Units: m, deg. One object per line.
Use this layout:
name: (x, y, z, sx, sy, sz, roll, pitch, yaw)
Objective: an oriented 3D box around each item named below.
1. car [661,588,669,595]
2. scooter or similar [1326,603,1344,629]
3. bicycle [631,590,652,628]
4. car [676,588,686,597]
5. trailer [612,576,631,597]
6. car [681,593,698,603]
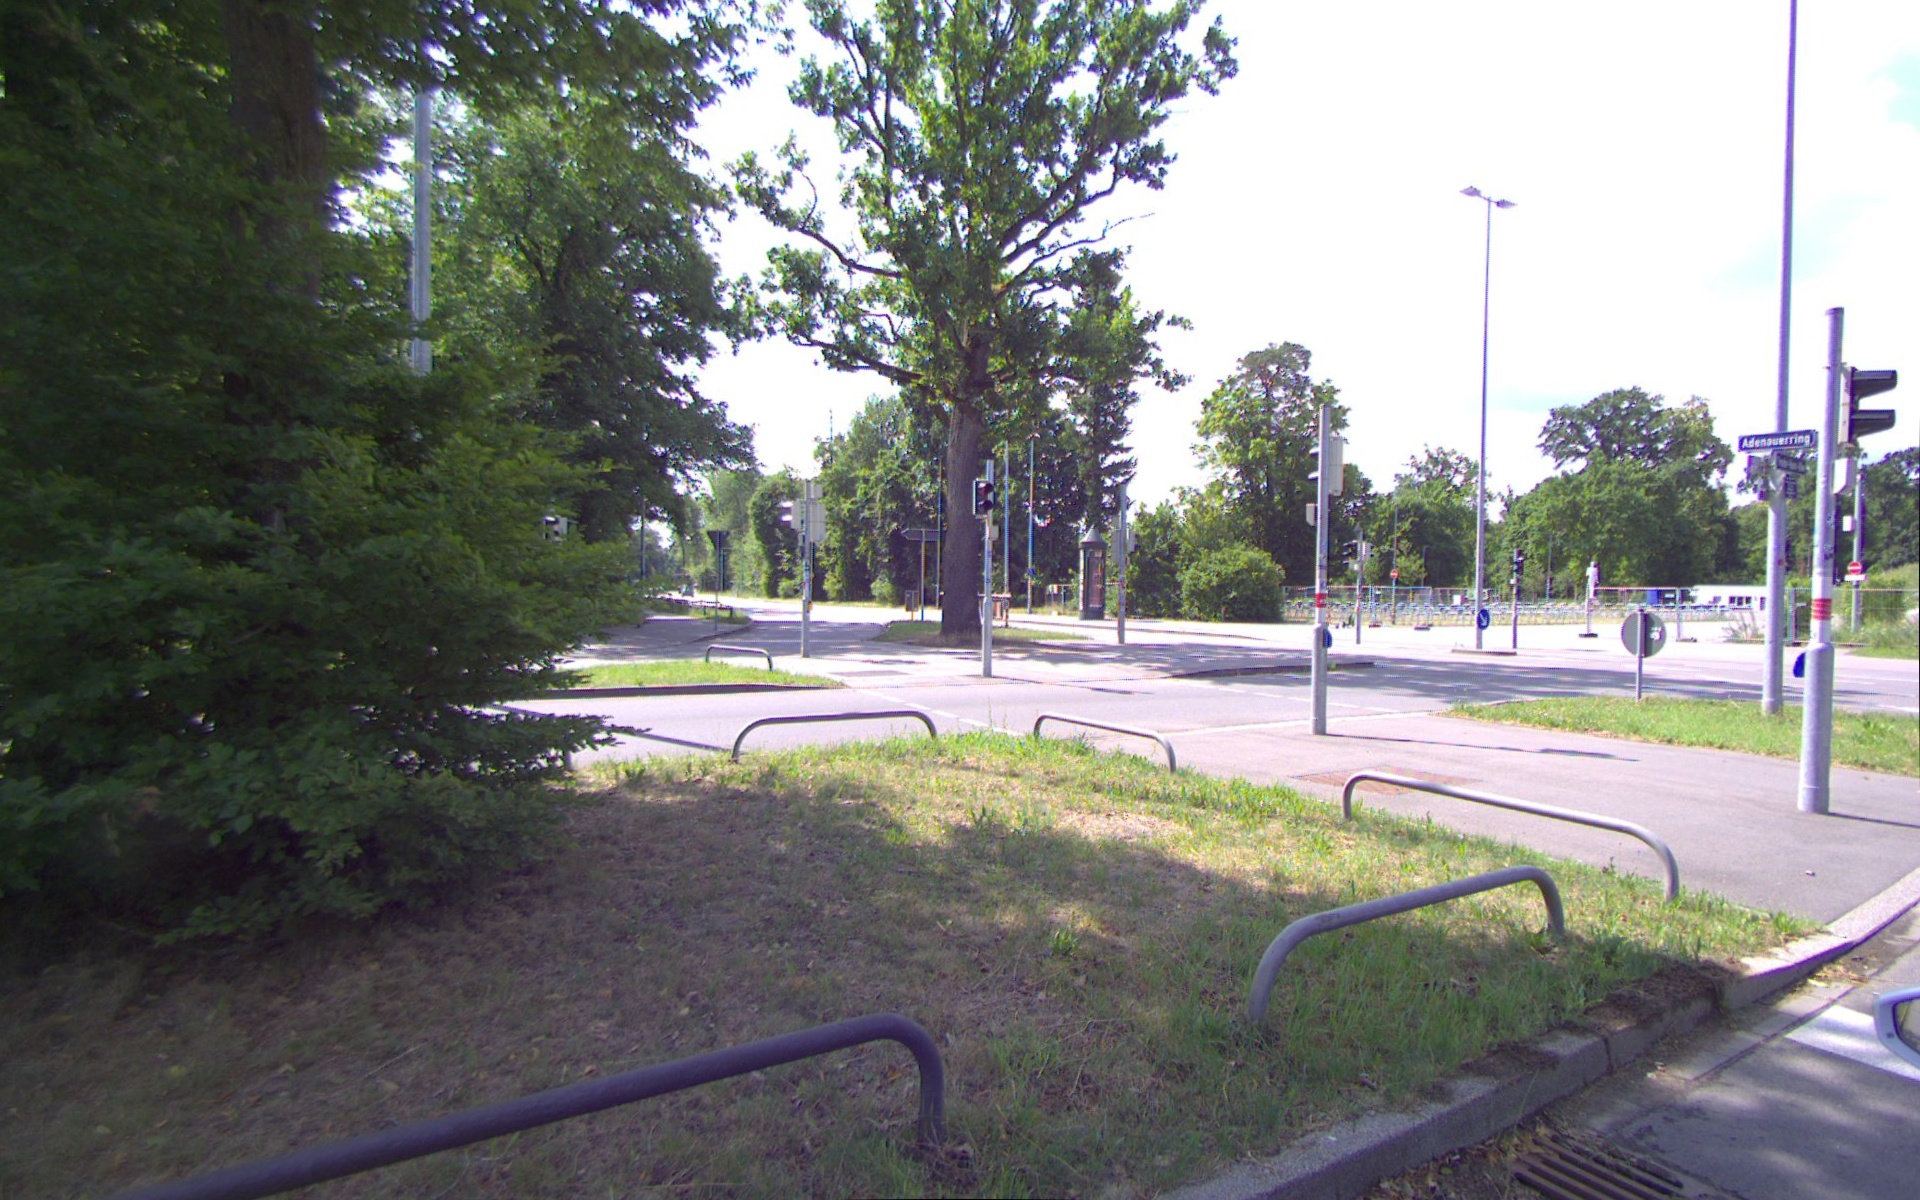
car: (-72.160, -2.089, 246.126, 1.808, 1.514, 4.092, 2, 0, -16)
scooter or similar: (18.311, 0.771, 49.045, 0.399, 1.216, 1.312, 0, 1, 0)
bicycle: (-10.395, 0.292, 32.824, 0.413, 1.189, 1.228, 2, 0, -8)
car: (-58.595, -1.521, 210.895, 1.688, 1.714, 3.700, 2, 0, -18)
trailer: (-42.465, -1.671, 125.818, 1.971, 2.420, 3.979, 2, 0, -22)
car: (-39.630, -0.302, 147.055, 1.846, 1.529, 4.024, 2, 0, -23)
